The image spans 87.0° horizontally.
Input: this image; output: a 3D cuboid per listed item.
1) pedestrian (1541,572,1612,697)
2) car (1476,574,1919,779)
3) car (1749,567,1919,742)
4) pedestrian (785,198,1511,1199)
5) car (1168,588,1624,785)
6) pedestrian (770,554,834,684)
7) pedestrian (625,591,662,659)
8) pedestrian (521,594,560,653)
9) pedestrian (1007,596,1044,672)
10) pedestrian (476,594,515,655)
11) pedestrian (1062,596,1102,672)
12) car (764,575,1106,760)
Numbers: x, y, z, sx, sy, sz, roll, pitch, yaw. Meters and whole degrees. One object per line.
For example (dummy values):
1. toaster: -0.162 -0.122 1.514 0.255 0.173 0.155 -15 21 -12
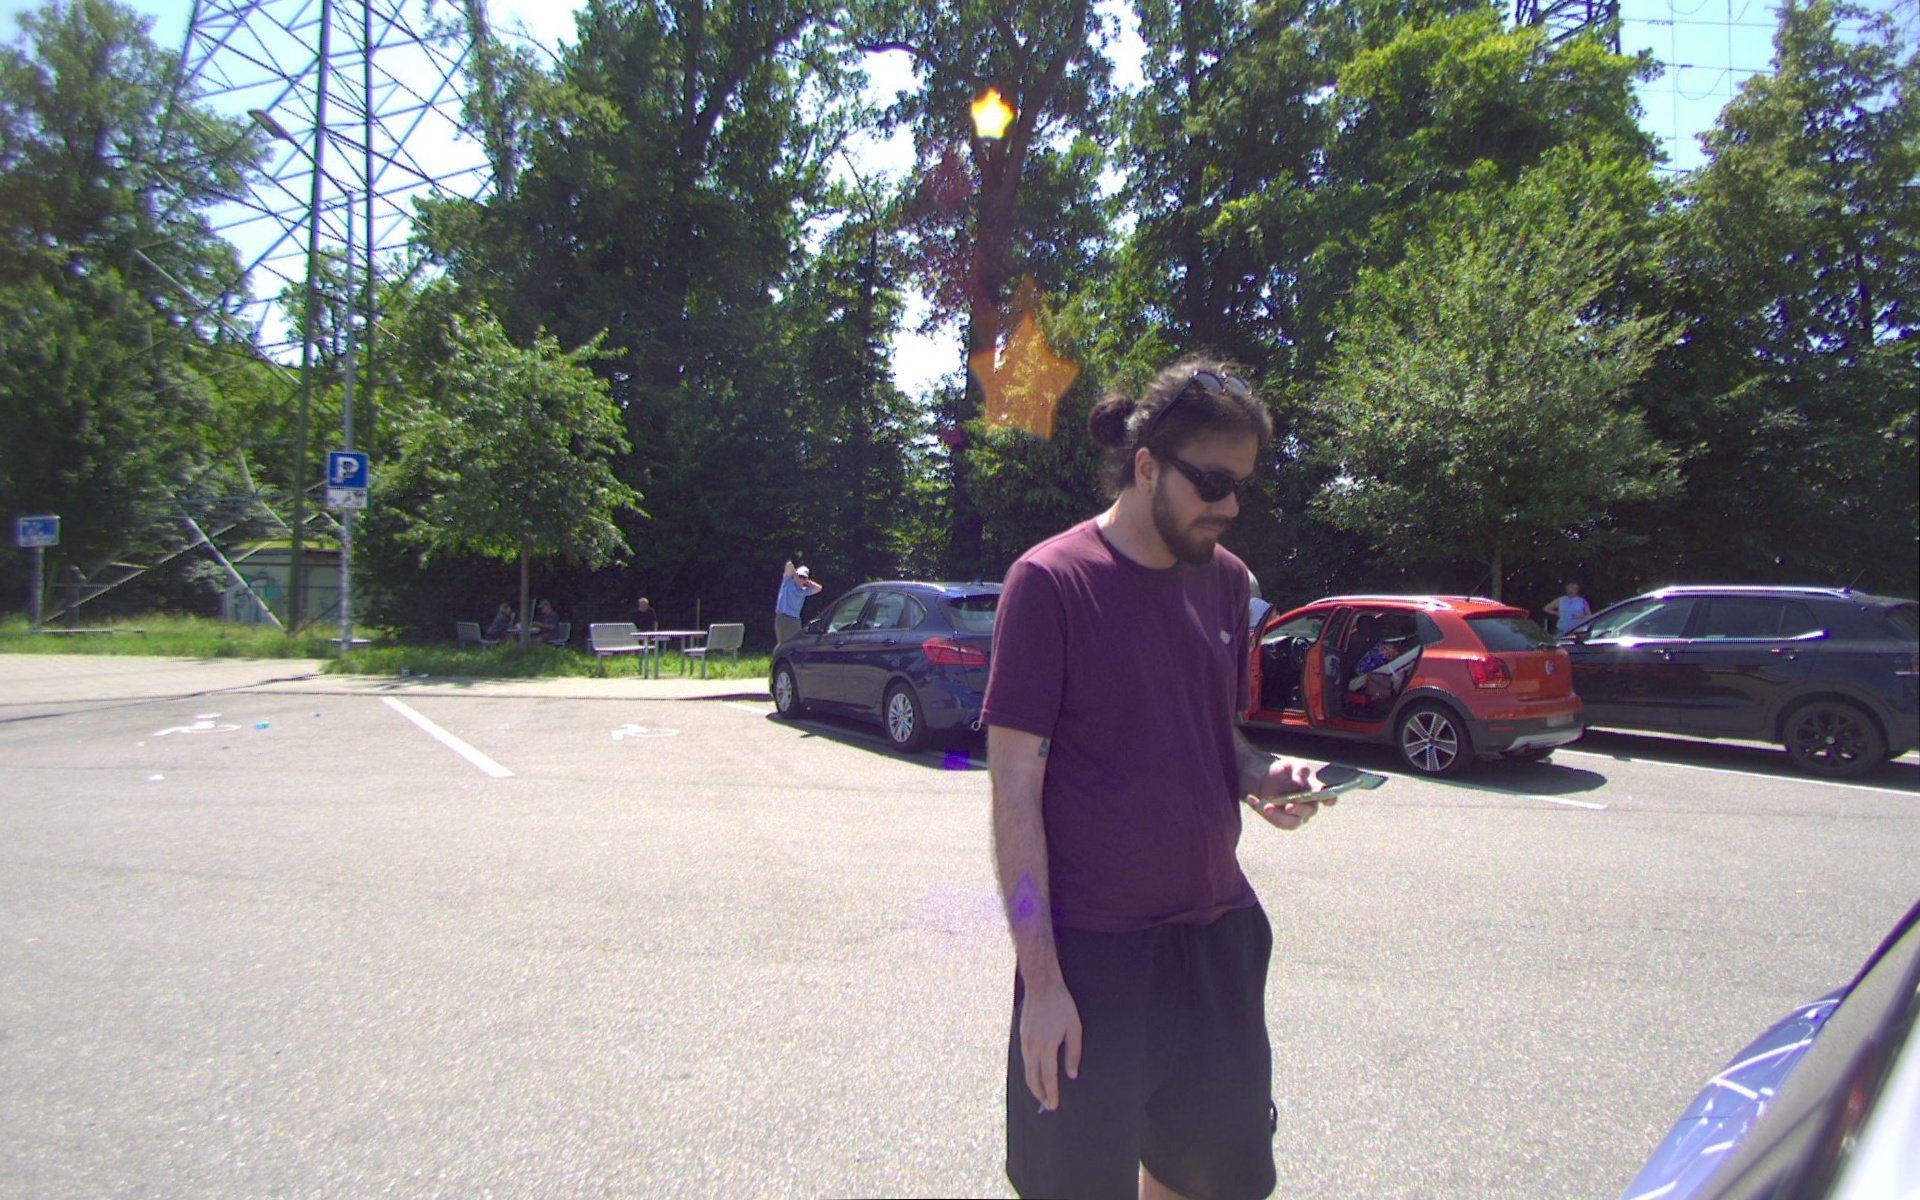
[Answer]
1. pedestrian: 9.349 0.512 15.369 0.752 1.854 0.520 0 0 3
2. car: 7.248 0.584 9.716 1.707 1.607 3.732 1 0 -39
3. car: 10.791 0.540 9.783 1.961 1.734 4.621 0 1 -32
4. pedestrian: 0.303 0.491 1.692 0.847 1.857 0.862 0 0 -42
5. car: 3.883 0.634 9.601 1.559 1.467 3.737 1 0 -33
6. pedestrian: -2.232 0.259 14.232 0.662 1.754 0.835 1 0 -26
7. pedestrian: -6.660 0.508 21.324 0.553 1.408 0.700 0 0 2
8. pedestrian: -9.732 0.532 23.485 0.687 1.352 0.563 0 0 -40
9. pedestrian: 1.097 0.573 17.089 0.576 1.251 0.697 0 -1 1
10. pedestrian: -10.490 0.542 22.847 0.687 1.352 0.563 0 0 -40
11. pedestrian: 2.044 0.568 17.023 0.576 1.251 0.697 0 -1 1
12. car: -0.455 0.547 10.674 1.776 1.562 3.940 1 0 -34
